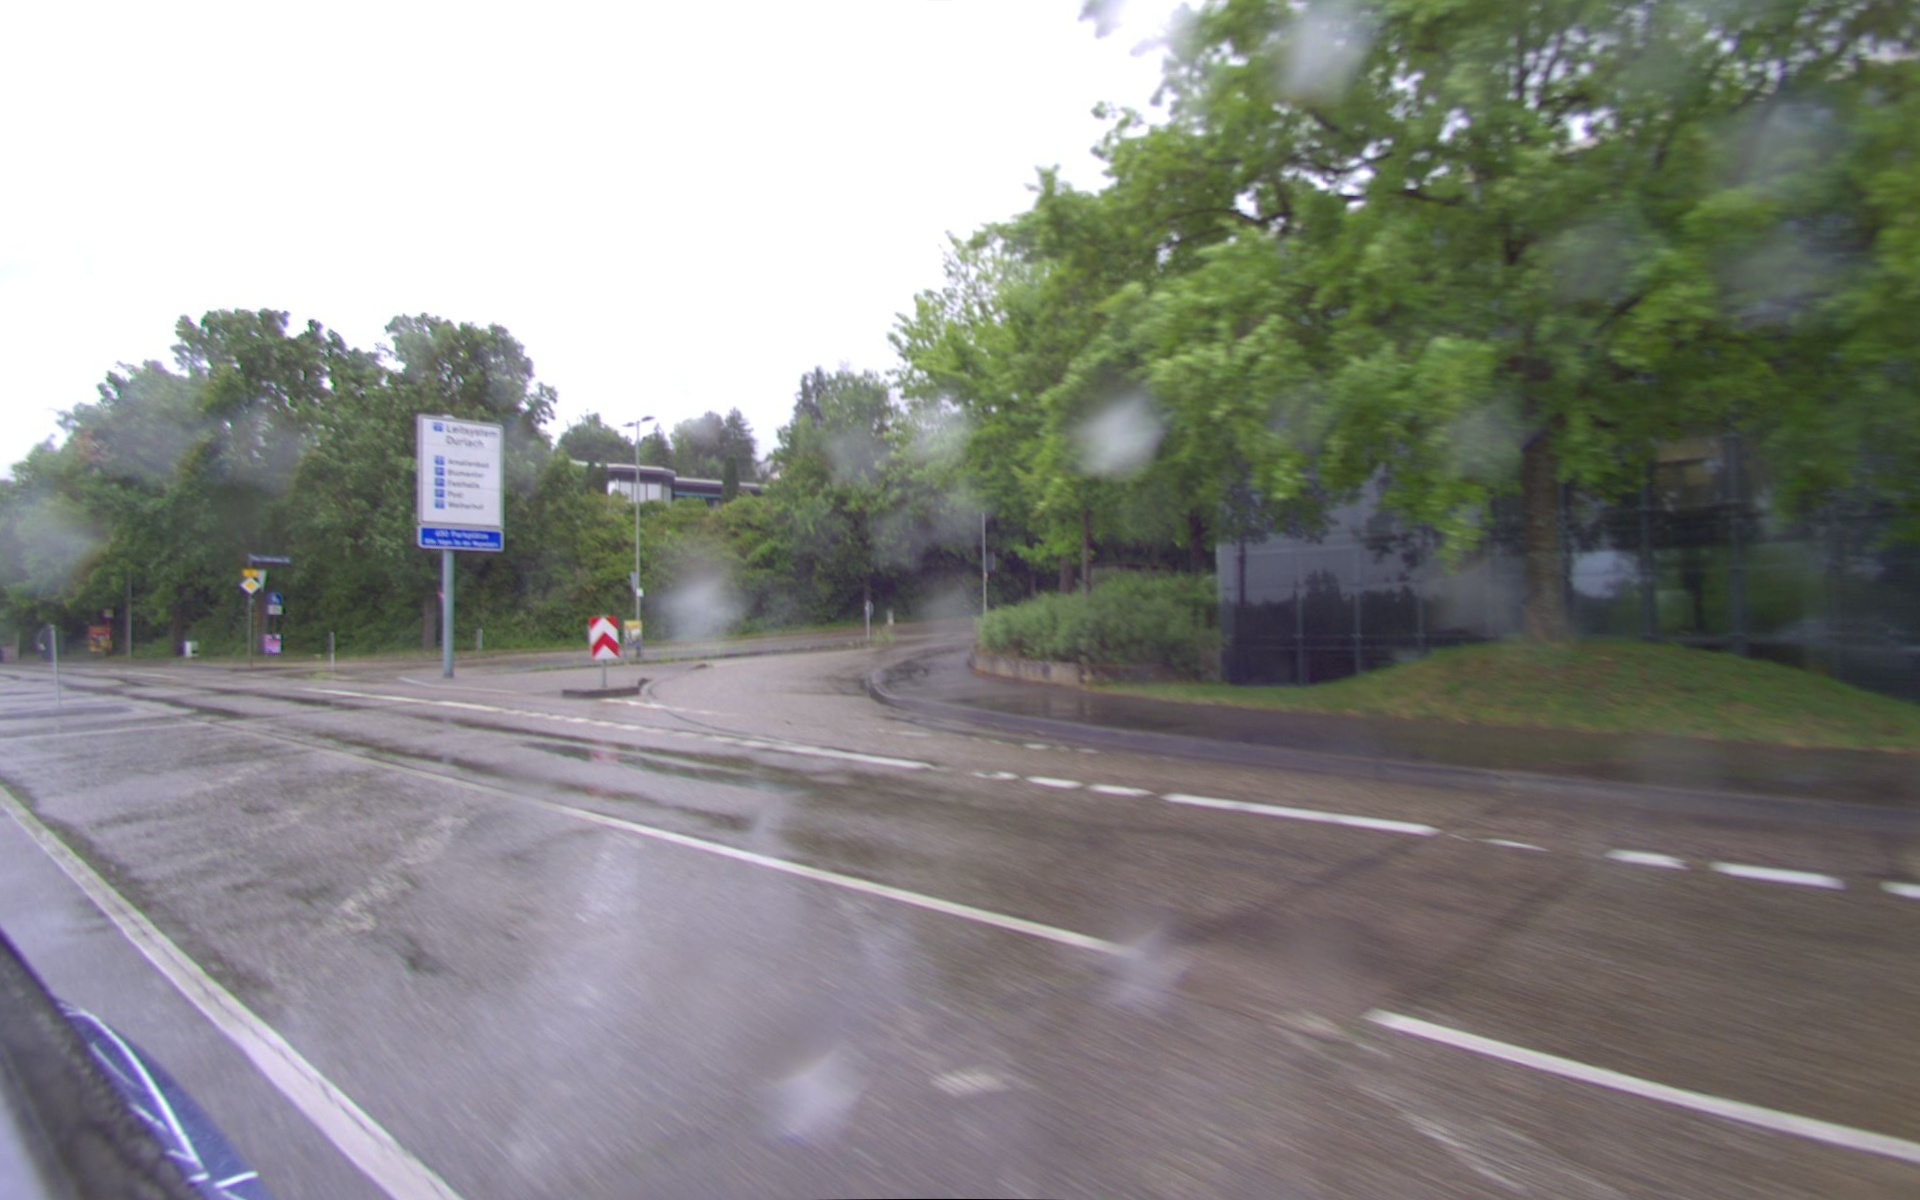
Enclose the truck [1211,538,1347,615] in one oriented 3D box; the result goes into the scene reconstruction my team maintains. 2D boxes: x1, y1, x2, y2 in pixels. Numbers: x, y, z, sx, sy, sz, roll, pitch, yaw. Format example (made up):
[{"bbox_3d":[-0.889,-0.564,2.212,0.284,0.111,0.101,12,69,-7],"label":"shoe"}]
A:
[{"bbox_3d":[21.294,-1.612,67.119,10.518,4.689,2.823,-2,-1,-37],"label":"truck"}]
